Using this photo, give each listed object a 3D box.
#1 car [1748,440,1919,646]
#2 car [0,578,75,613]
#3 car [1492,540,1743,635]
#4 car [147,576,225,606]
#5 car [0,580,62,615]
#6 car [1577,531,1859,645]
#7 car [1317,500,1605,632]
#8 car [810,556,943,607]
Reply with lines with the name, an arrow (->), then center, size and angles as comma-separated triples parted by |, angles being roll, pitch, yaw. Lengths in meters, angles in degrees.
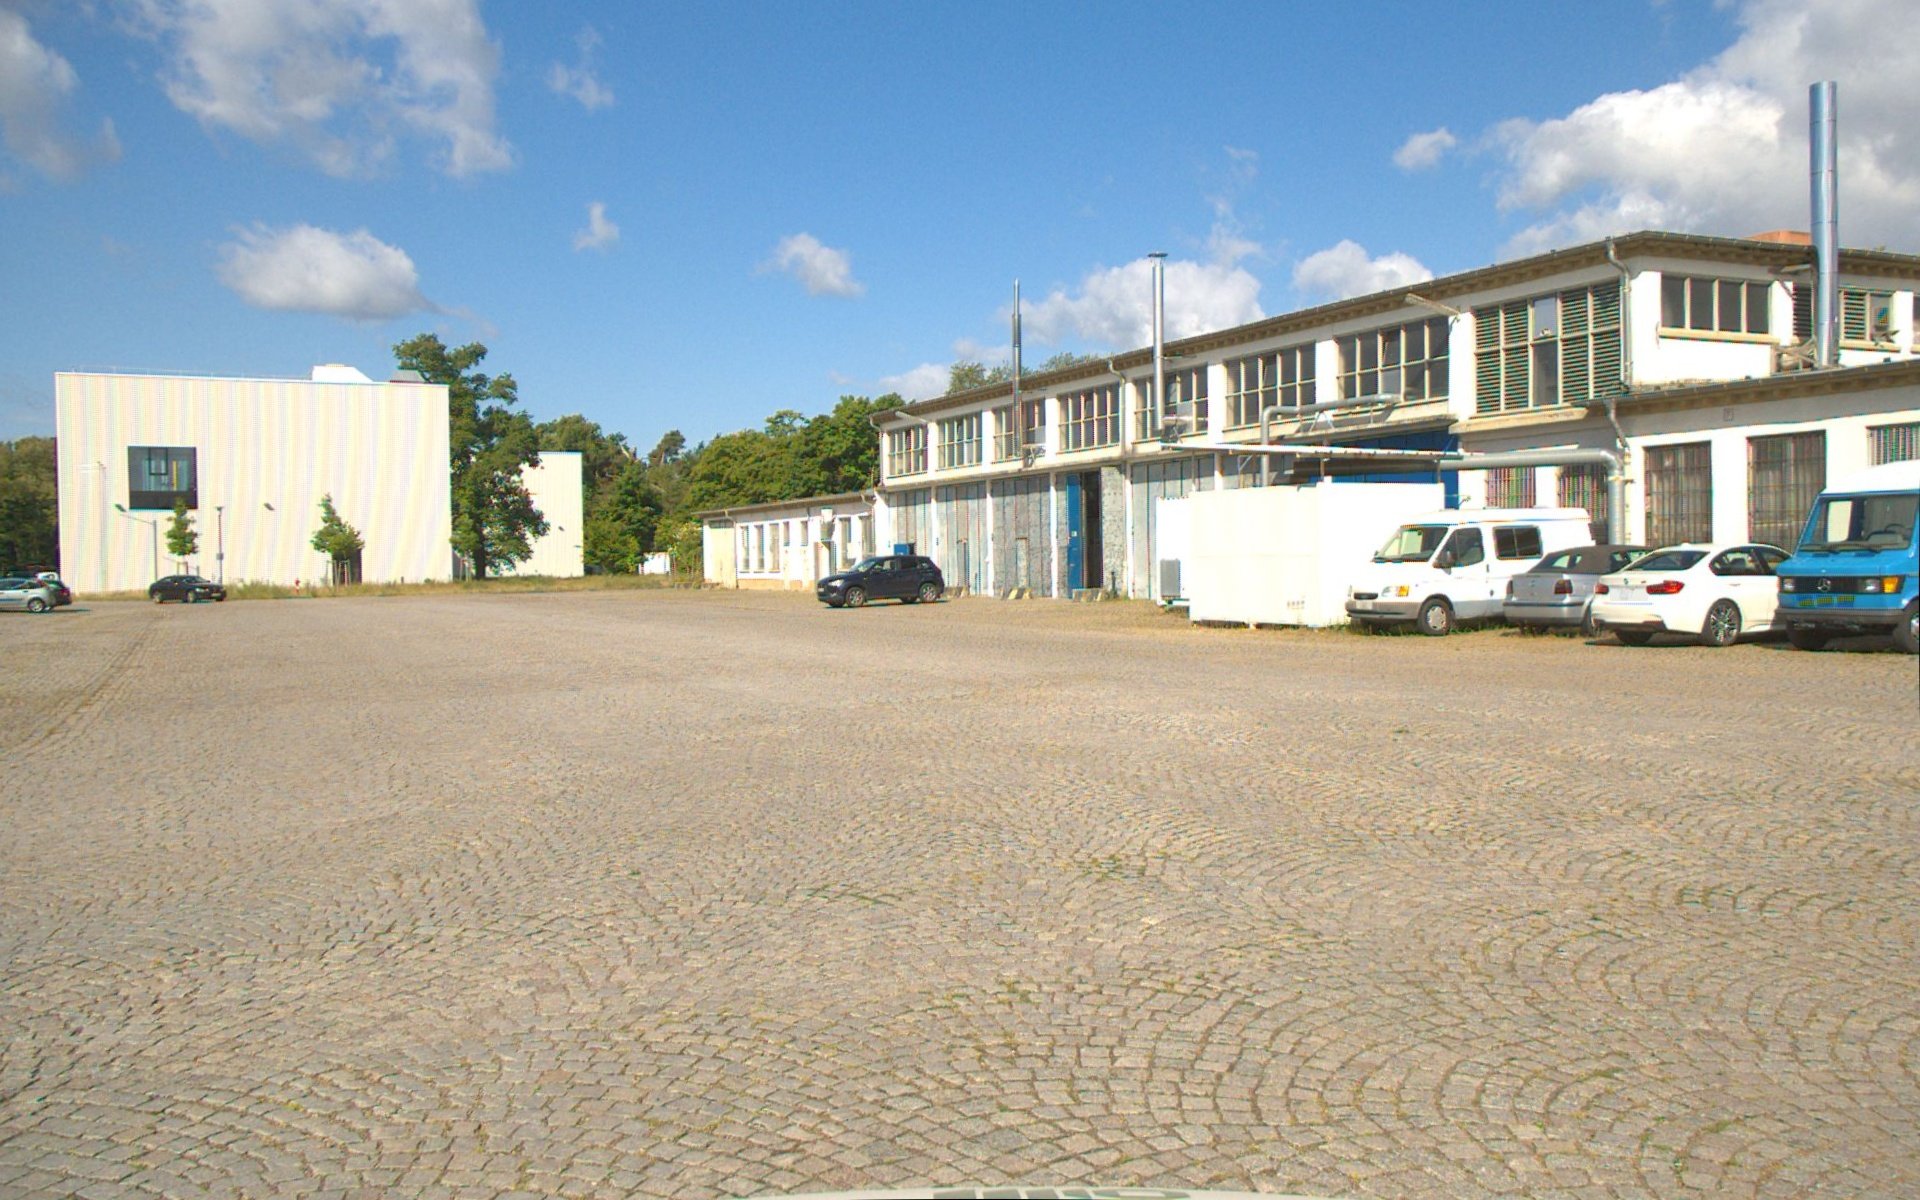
car -> 13.354, -0.788, 22.260 | 5.150, 2.526, 2.075 | -2, 1, -23
car -> -42.954, -0.214, 75.598 | 4.293, 1.495, 1.726 | -2, 1, -27
car -> 10.818, -0.242, 27.219 | 3.767, 1.423, 1.681 | -2, 2, -23
car -> -39.678, -0.478, 84.808 | 3.989, 1.454, 1.736 | -1, 1, 32
car -> -41.812, -0.090, 72.581 | 4.125, 1.428, 1.726 | -2, 1, -27
car -> 11.111, -0.199, 24.268 | 3.676, 1.430, 1.726 | -3, 1, -23
car -> 8.960, -0.643, 29.561 | 4.724, 2.117, 1.996 | -3, 1, -23
car -> -2.745, -0.619, 54.311 | 4.015, 1.495, 1.726 | -3, 1, -27
